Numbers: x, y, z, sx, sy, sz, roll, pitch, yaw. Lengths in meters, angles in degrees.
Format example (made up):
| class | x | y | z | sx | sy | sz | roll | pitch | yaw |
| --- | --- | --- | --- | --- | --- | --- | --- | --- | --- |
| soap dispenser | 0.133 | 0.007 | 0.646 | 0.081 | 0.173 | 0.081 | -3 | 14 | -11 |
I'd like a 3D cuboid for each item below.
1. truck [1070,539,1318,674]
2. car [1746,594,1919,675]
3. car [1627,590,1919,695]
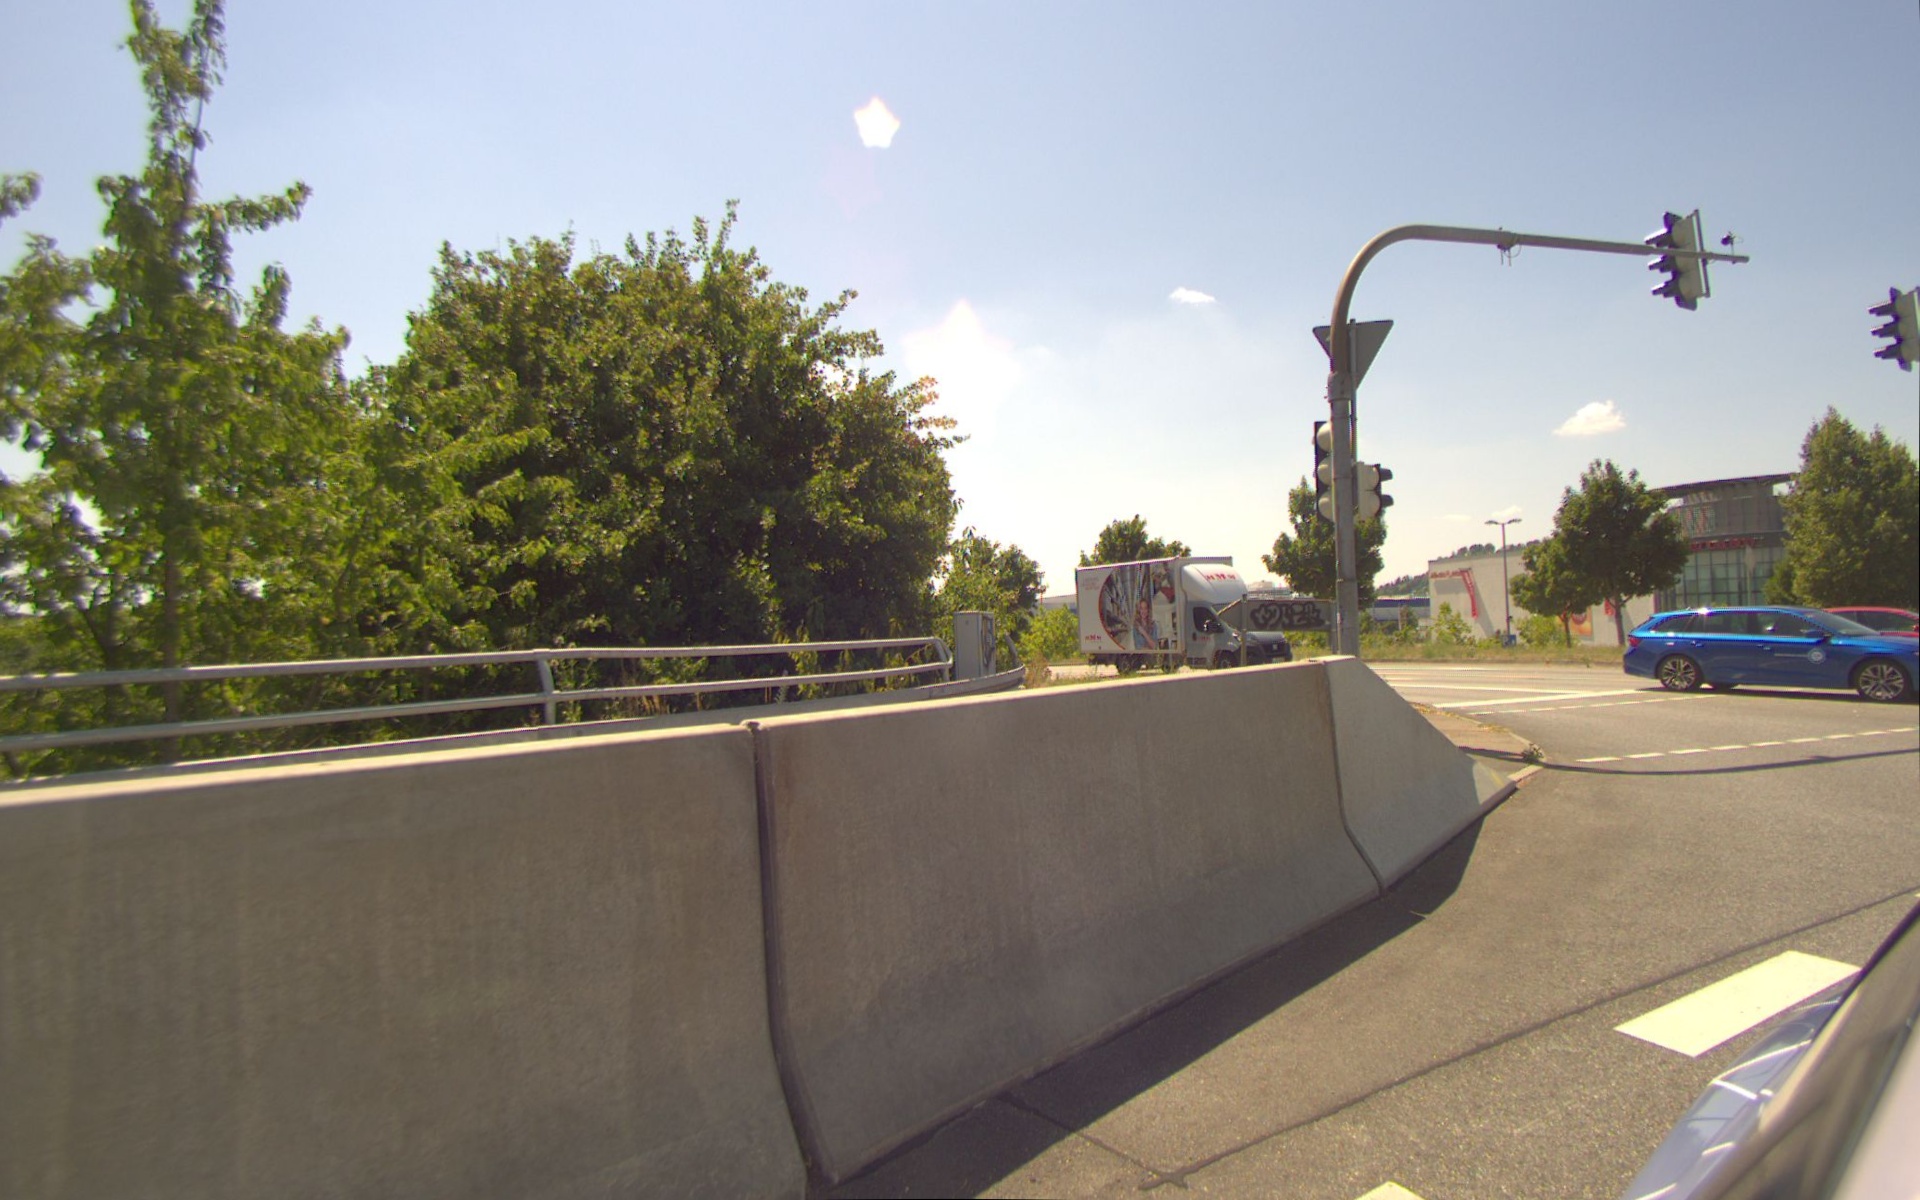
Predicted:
| class | x | y | z | sx | sy | sz | roll | pitch | yaw |
| --- | --- | --- | --- | --- | --- | --- | --- | --- | --- |
| truck | 6.464 | 0.319 | 29.254 | 2.369 | 3.390 | 7.203 | -3 | -2 | -32 |
| car | 17.653 | 0.624 | 18.907 | 1.636 | 1.405 | 4.445 | -2 | 1 | -39 |
| car | 13.638 | 0.639 | 16.323 | 1.679 | 1.481 | 4.492 | -2 | -1 | -30 |
